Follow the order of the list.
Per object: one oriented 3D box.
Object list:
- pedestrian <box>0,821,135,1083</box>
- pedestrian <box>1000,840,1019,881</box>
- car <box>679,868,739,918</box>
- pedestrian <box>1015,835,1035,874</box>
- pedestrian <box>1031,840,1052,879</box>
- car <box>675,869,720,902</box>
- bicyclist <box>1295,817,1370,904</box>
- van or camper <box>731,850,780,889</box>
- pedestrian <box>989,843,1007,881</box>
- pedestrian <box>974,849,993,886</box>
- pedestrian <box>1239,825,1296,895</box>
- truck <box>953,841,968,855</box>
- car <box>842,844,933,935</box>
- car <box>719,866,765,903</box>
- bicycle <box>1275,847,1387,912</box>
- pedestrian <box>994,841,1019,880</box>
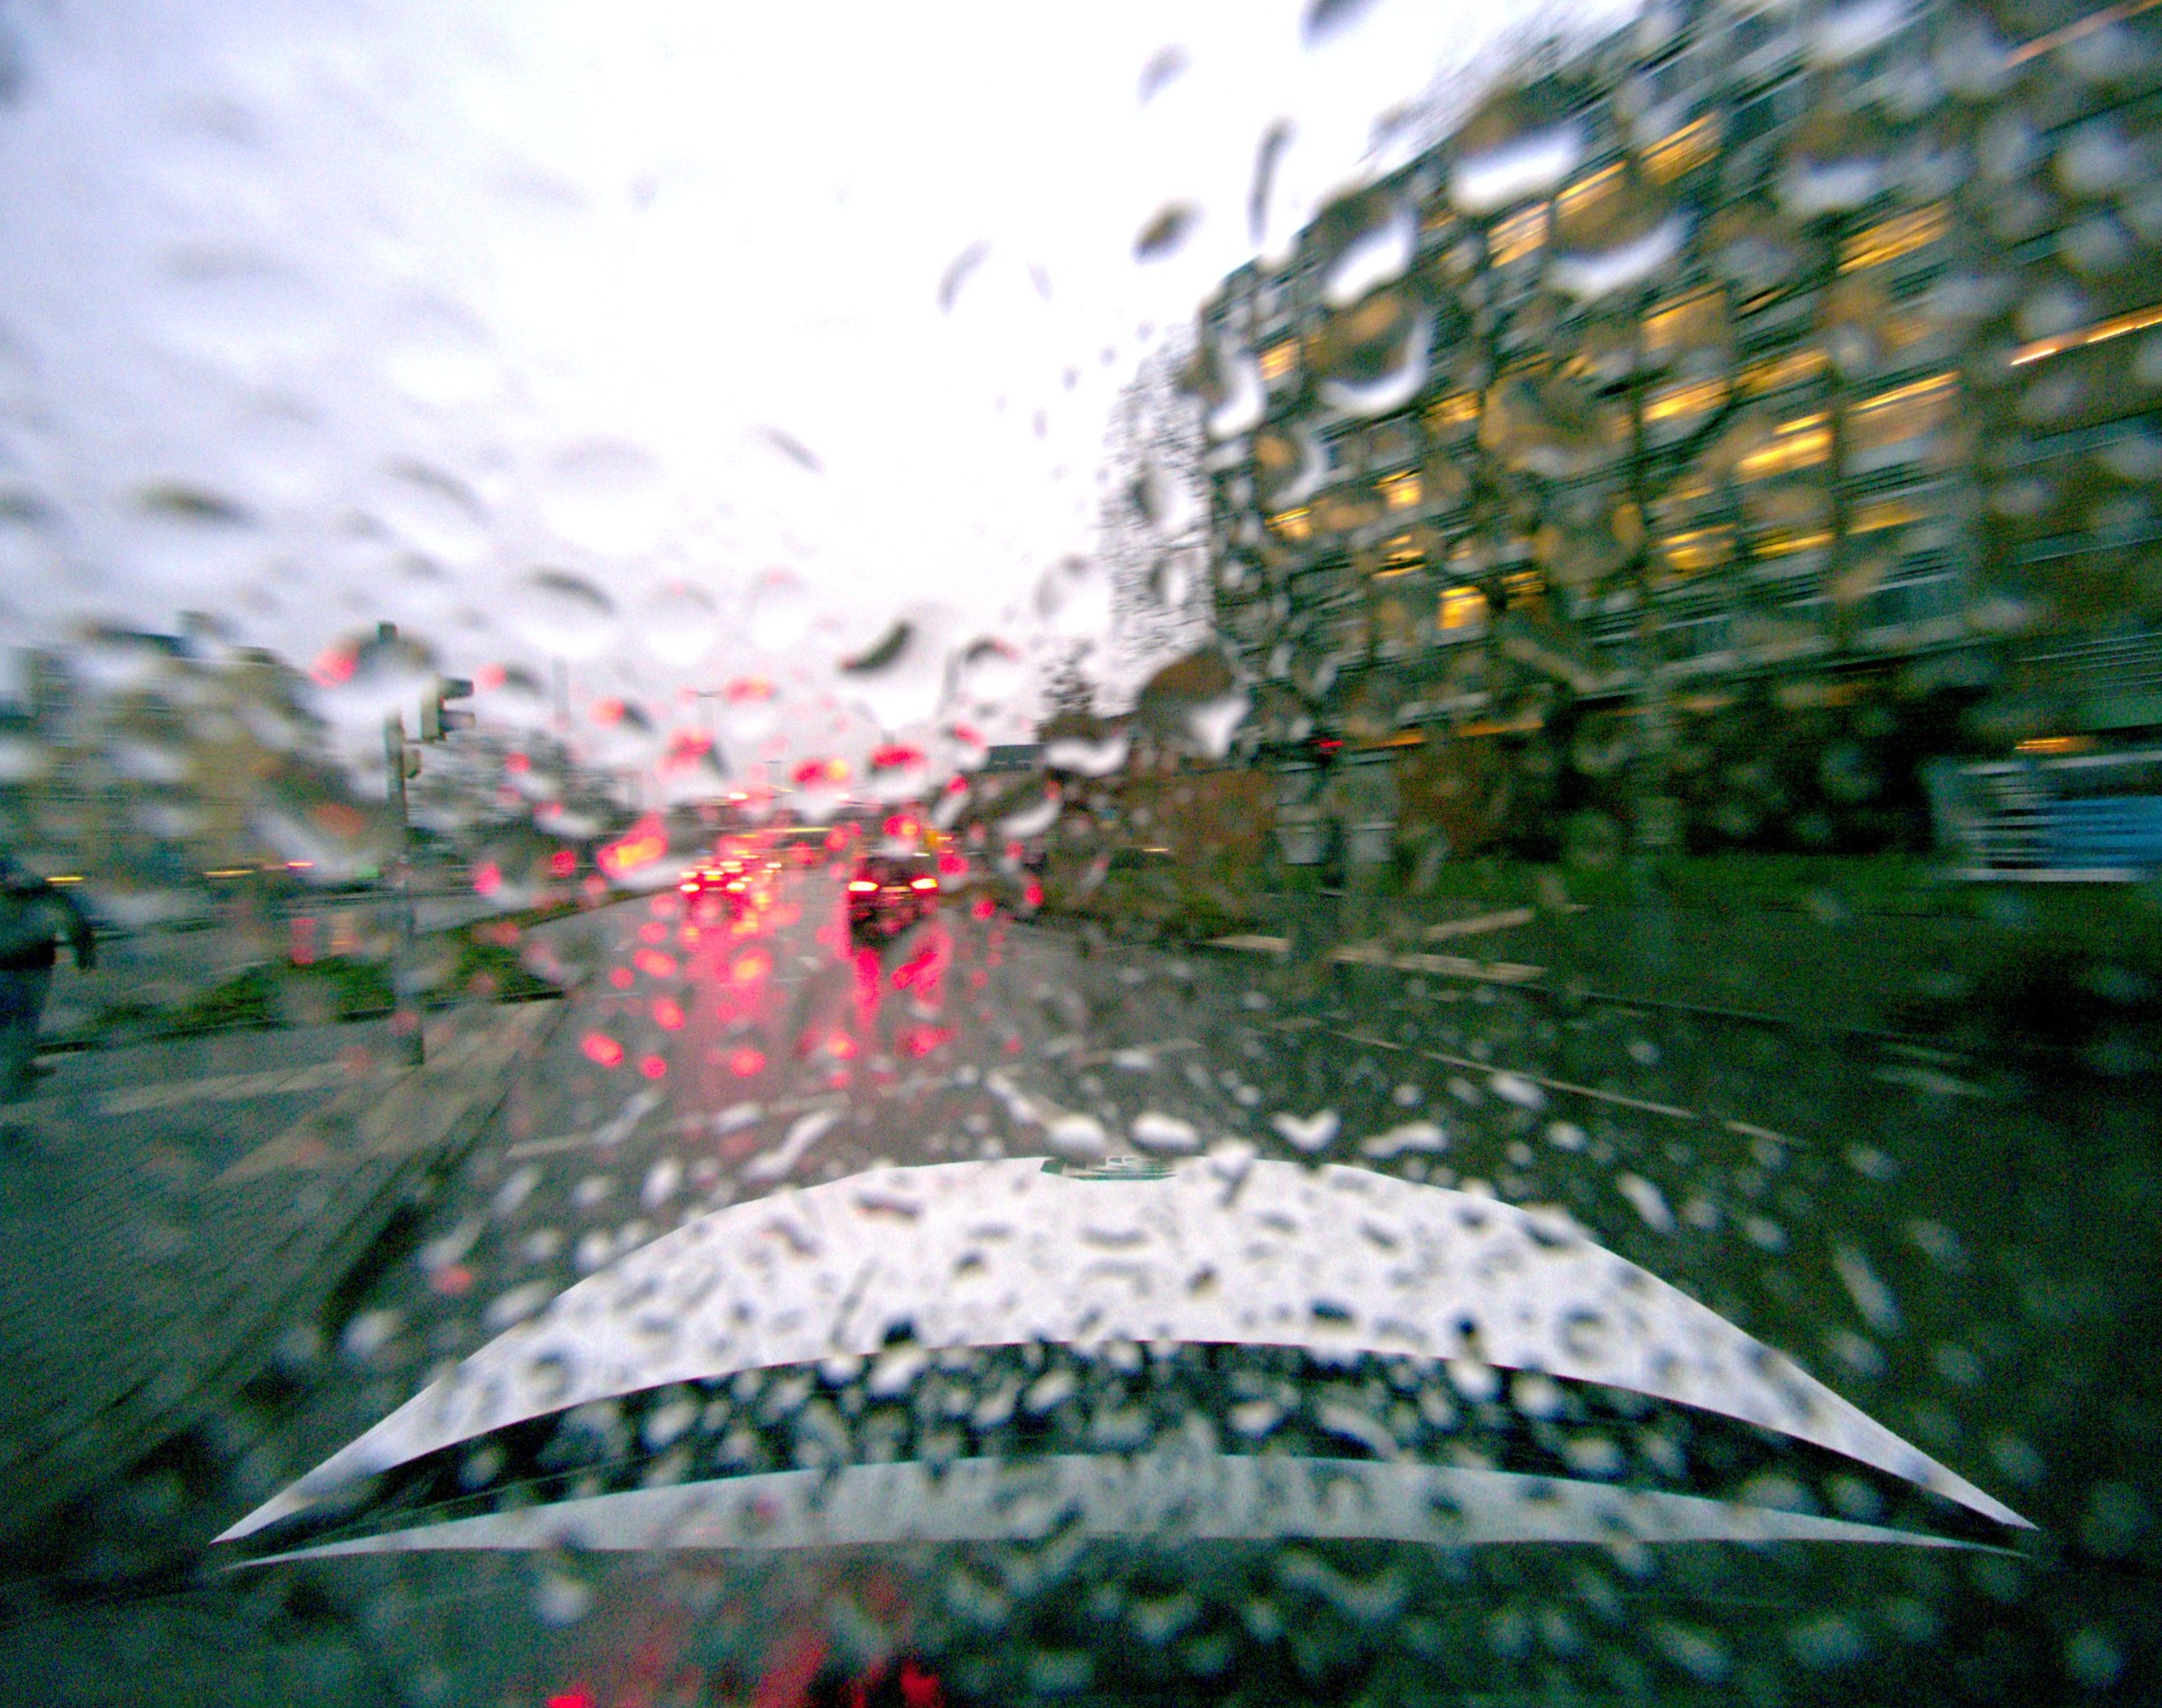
[{"bbox_3d":[-8.603,0.751,6.575,0.838,2.005,1.116,1,3,44],"label":"pedestrian"},{"bbox_3d":[-3.182,0.298,36.409,0.580,1.781,0.770,-4,0,7],"label":"pedestrian"},{"bbox_3d":[-12.389,1.230,27.231,1.708,1.482,3.841,0,0,-24],"label":"car"},{"bbox_3d":[-2.505,0.018,36.401,0.664,1.687,0.613,-4,2,7],"label":"pedestrian"},{"bbox_3d":[-1.771,0.231,36.398,0.714,1.687,0.761,-3,0,6],"label":"pedestrian"},{"bbox_3d":[-23.195,1.851,49.364,1.890,1.772,3.976,-2,0,-18],"label":"car"},{"bbox_3d":[5.025,0.119,16.320,0.808,1.617,1.076,-6,2,-26],"label":"bicyclist"},{"bbox_3d":[-19.273,0.900,48.412,2.207,2.109,4.959,-1,0,-16],"label":"van or camper"},{"bbox_3d":[-4.541,0.441,44.678,0.803,2.013,0.762,-1,2,7],"label":"pedestrian"},{"bbox_3d":[-5.343,0.737,44.610,0.803,1.929,0.762,-1,2,7],"label":"pedestrian"},{"bbox_3d":[4.738,0.156,20.732,0.811,1.687,1.062,-5,1,-24],"label":"pedestrian"},{"bbox_3d":[-23.663,-1.152,159.726,1.987,2.691,5.115,-3,0,0],"label":"truck"},{"bbox_3d":[-4.566,0.704,18.956,1.781,1.800,4.401,-2,1,-16],"label":"car"},{"bbox_3d":[-14.306,1.229,34.427,1.666,1.404,4.089,-1,0,-23],"label":"car"},{"bbox_3d":[4.990,0.485,16.456,0.808,1.141,2.195,-6,2,-26],"label":"bicycle"},{"bbox_3d":[-3.568,0.317,39.061,0.858,1.791,0.740,-3,0,-42],"label":"pedestrian"}]
